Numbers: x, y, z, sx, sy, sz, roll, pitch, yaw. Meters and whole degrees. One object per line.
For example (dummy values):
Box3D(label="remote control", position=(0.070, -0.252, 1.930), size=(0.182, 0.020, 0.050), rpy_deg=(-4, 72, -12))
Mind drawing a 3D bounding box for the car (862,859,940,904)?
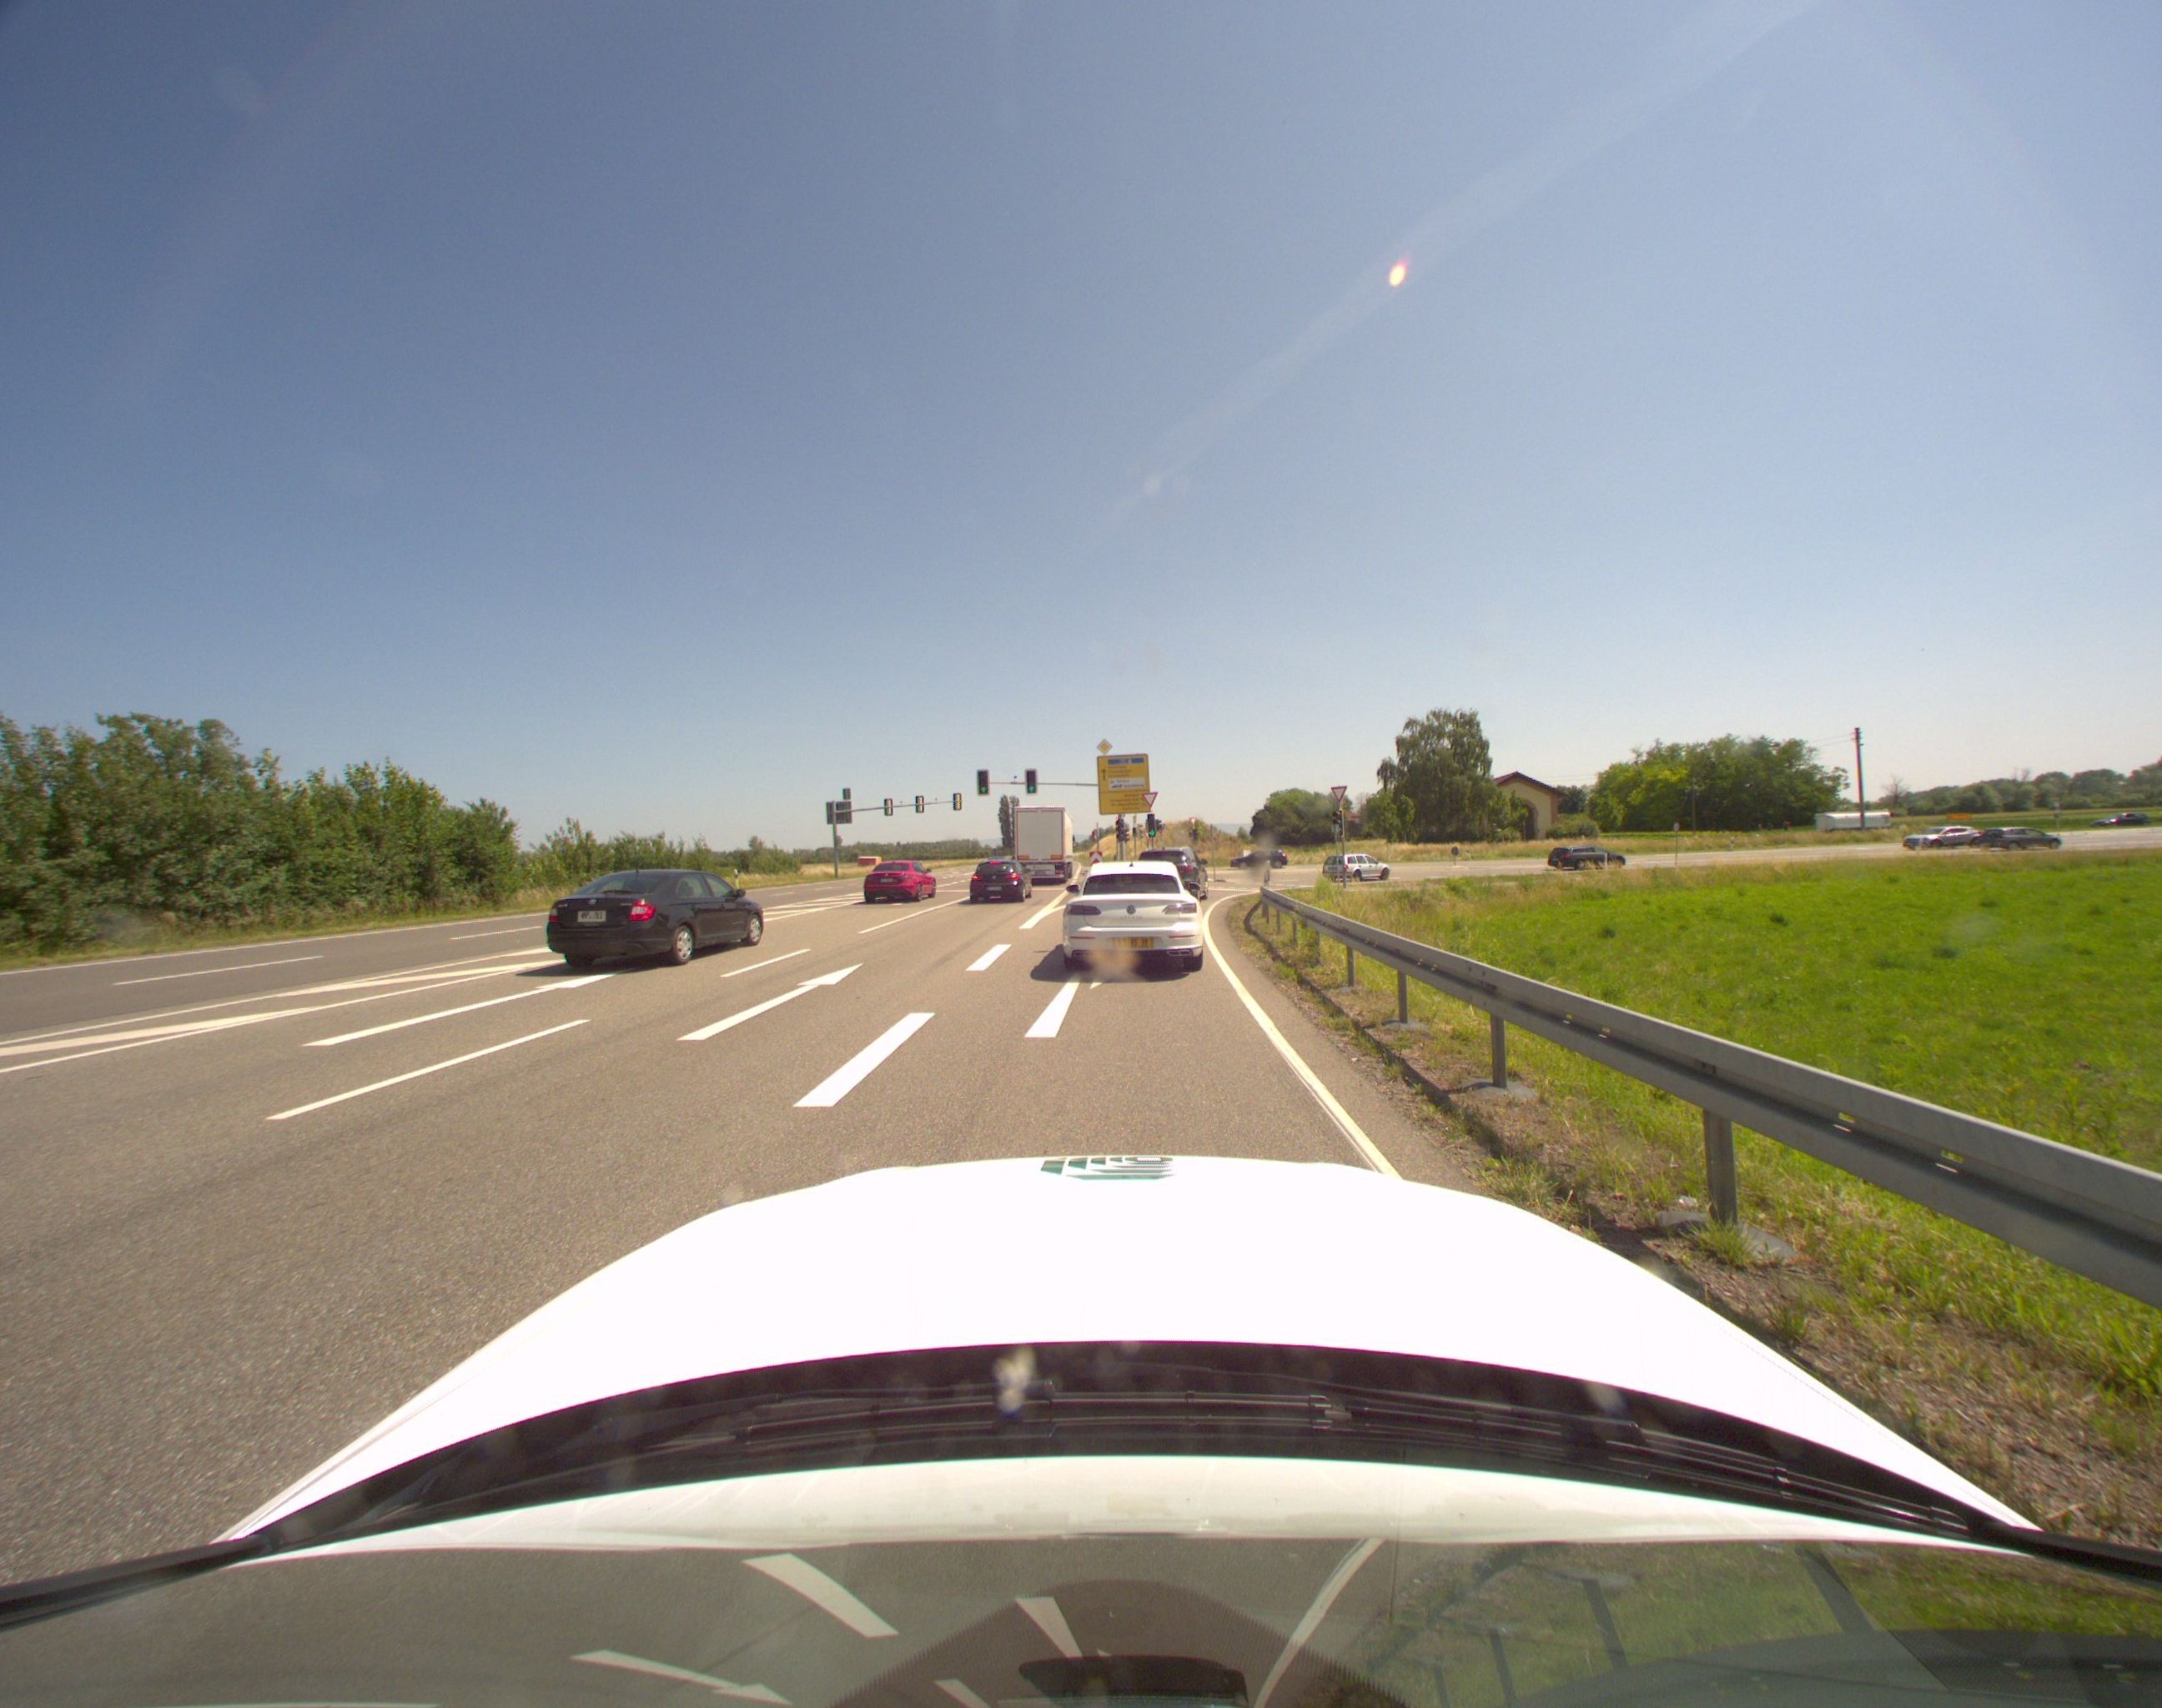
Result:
Box3D(label="car", position=(-6.400, 0.916, 29.387), size=(1.743, 1.421, 4.566), rpy_deg=(-1, 0, 0))

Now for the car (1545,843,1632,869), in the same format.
Box3D(label="car", position=(30.532, 0.113, 49.030), size=(4.404, 1.476, 1.798), rpy_deg=(-1, -1, -13))

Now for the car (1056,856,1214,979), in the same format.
Box3D(label="car", position=(0.715, 0.769, 11.984), size=(1.841, 1.433, 4.610), rpy_deg=(-1, 0, 2))

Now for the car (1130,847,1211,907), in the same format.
Box3D(label="car", position=(2.794, 0.633, 24.483), size=(1.921, 1.616, 4.393), rpy_deg=(-1, 0, 12))

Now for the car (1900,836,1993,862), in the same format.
Box3D(label="car", position=(58.892, -0.354, 55.463), size=(4.525, 1.543, 1.870), rpy_deg=(-3, 1, -2))

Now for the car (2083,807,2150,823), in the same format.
Box3D(label="car", position=(97.206, -3.627, 76.483), size=(3.803, 1.387, 1.684), rpy_deg=(-2, 2, 9))

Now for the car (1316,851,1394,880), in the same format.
Box3D(label="car", position=(14.403, 0.602, 42.739), size=(4.110, 1.429, 1.786), rpy_deg=(-1, -1, -36))

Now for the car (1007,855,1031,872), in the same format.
Box3D(label="car", position=(-5.628, 0.845, 74.392), size=(1.803, 1.493, 4.020), rpy_deg=(-1, 0, 0))

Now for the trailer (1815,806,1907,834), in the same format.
Box3D(label="trailer", position=(78.035, -3.392, 81.599), size=(6.330, 2.455, 2.691), rpy_deg=(-3, 1, 6))

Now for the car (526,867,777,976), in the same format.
Box3D(label="car", position=(-6.703, 0.961, 13.361), size=(1.669, 1.412, 4.467), rpy_deg=(-1, 0, 1))

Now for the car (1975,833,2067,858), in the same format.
Box3D(label="car", position=(59.538, -0.530, 51.601), size=(3.860, 1.522, 1.804), rpy_deg=(-1, -1, -2))

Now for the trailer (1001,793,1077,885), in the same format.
Box3D(label="trailer", position=(-2.124, -0.760, 47.058), size=(3.369, 4.542, 12.874), rpy_deg=(-1, 0, 1))

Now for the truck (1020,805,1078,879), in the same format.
Box3D(label="truck", position=(-2.004, -0.763, 53.762), size=(3.369, 4.542, 6.374), rpy_deg=(-1, 0, 1))

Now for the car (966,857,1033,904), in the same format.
Box3D(label="car", position=(-2.711, 0.837, 28.055), size=(1.778, 1.430, 4.381), rpy_deg=(-1, 0, 1))

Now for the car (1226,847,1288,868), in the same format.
Box3D(label="car", position=(13.094, 0.261, 60.778), size=(4.240, 1.368, 1.778), rpy_deg=(-3, 1, 4))
